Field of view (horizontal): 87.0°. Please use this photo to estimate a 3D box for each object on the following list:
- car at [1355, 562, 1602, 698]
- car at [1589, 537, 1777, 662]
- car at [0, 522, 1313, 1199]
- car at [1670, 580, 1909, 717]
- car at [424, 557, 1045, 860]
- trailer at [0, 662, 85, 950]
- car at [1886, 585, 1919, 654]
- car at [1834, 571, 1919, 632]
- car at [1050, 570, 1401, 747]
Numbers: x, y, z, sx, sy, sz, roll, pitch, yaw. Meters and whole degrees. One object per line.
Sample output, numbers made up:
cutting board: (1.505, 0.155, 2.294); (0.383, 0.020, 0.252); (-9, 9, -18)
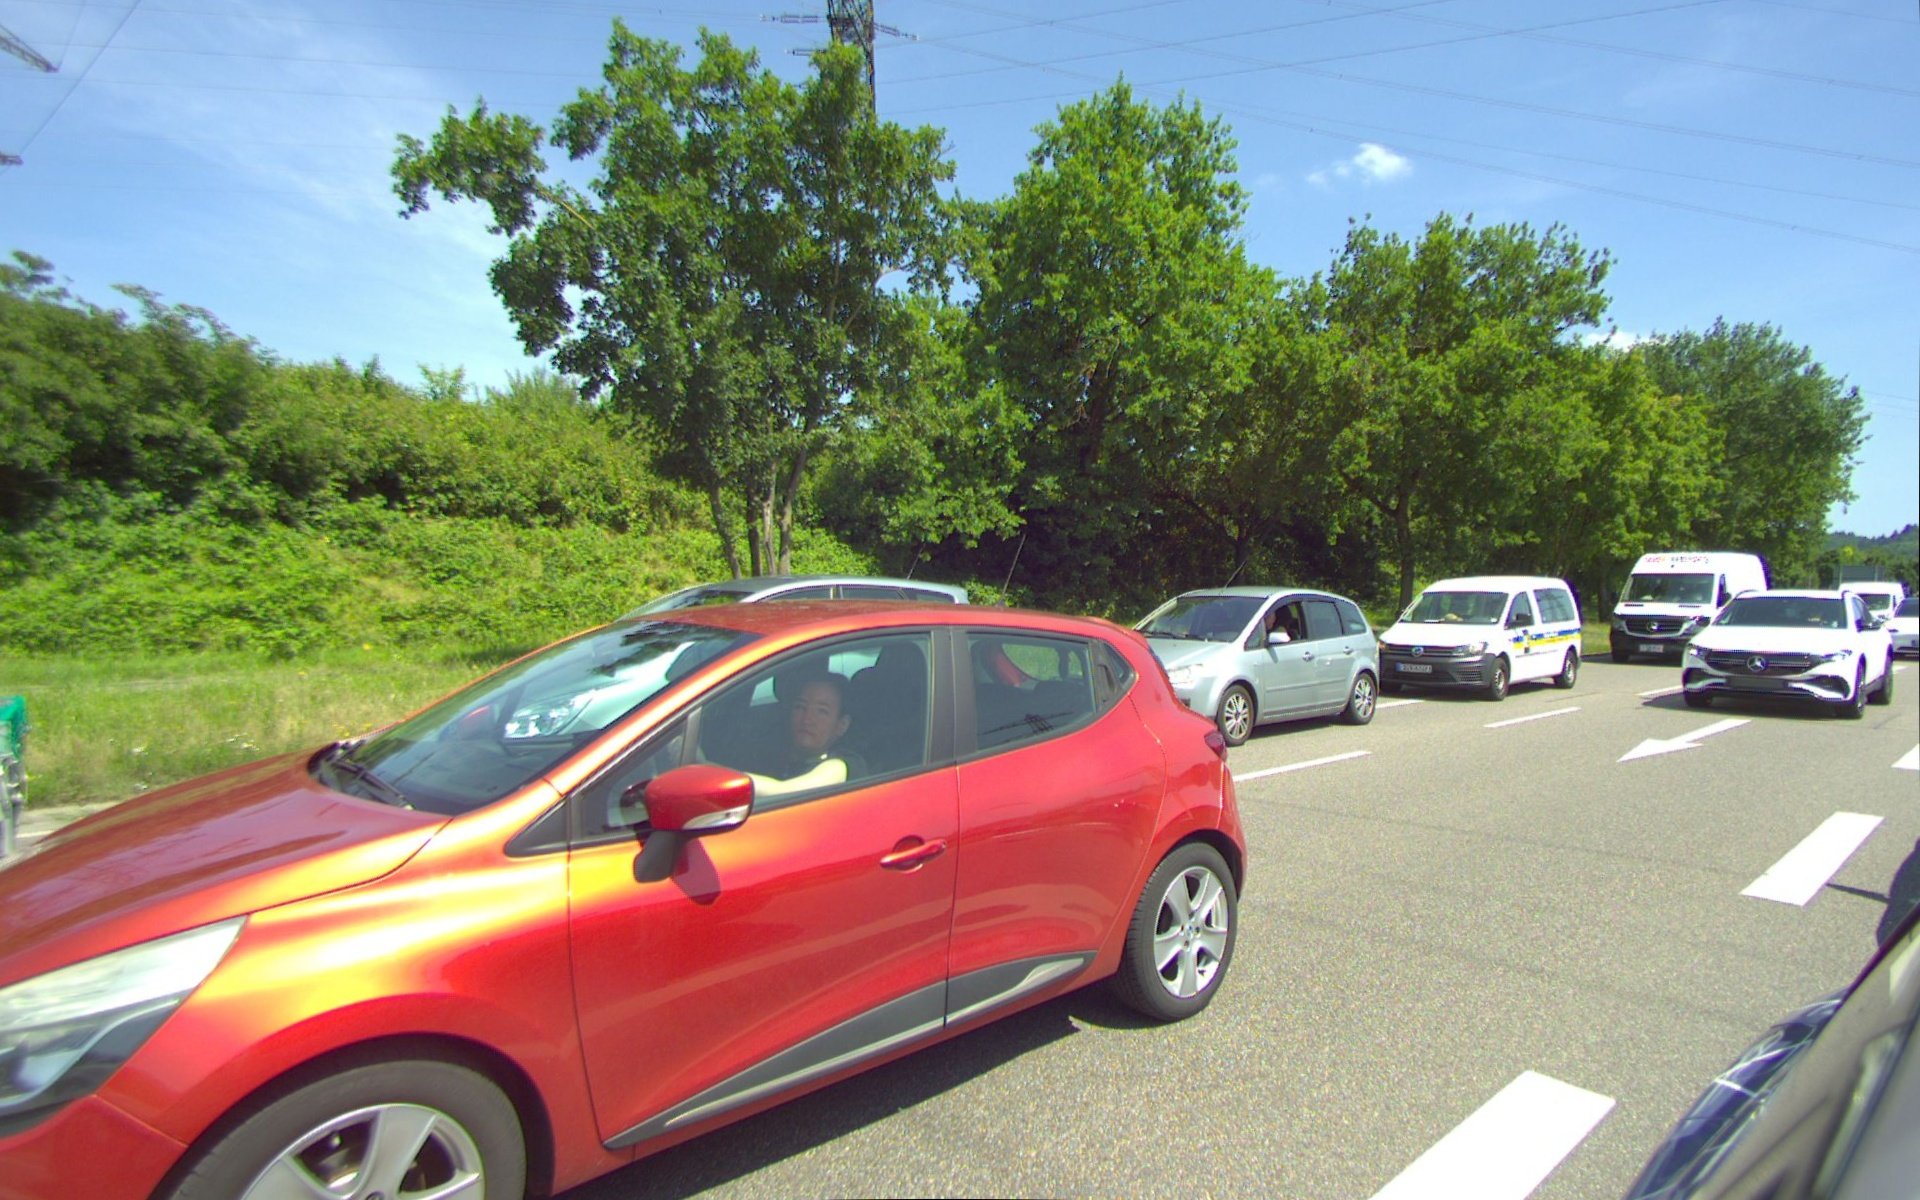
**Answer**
car: (8.290, 0.398, 15.943); (4.950, 1.823, 1.807); (0, 0, -42)
car: (17.583, -0.016, 24.418); (6.897, 2.640, 2.230); (0, 0, -42)
car: (-0.708, 0.622, 3.235); (3.994, 1.480, 1.746); (0, 0, -41)
car: (11.443, 0.558, 13.853); (4.287, 1.588, 1.849); (0, 0, -41)
car: (-1.450, 0.557, 7.407); (4.092, 1.615, 1.768); (0, 1, -41)
trailer: (-5.362, 0.852, 3.687); (3.266, 1.019, 1.709); (0, 0, -41)
car: (25.386, 0.478, 26.013); (3.932, 1.703, 2.019); (0, 0, -43)
car: (39.736, 0.052, 43.635); (5.712, 2.453, 2.306); (0, 0, -41)
car: (3.083, 0.526, 11.290); (4.197, 1.614, 1.746); (0, 0, -41)
